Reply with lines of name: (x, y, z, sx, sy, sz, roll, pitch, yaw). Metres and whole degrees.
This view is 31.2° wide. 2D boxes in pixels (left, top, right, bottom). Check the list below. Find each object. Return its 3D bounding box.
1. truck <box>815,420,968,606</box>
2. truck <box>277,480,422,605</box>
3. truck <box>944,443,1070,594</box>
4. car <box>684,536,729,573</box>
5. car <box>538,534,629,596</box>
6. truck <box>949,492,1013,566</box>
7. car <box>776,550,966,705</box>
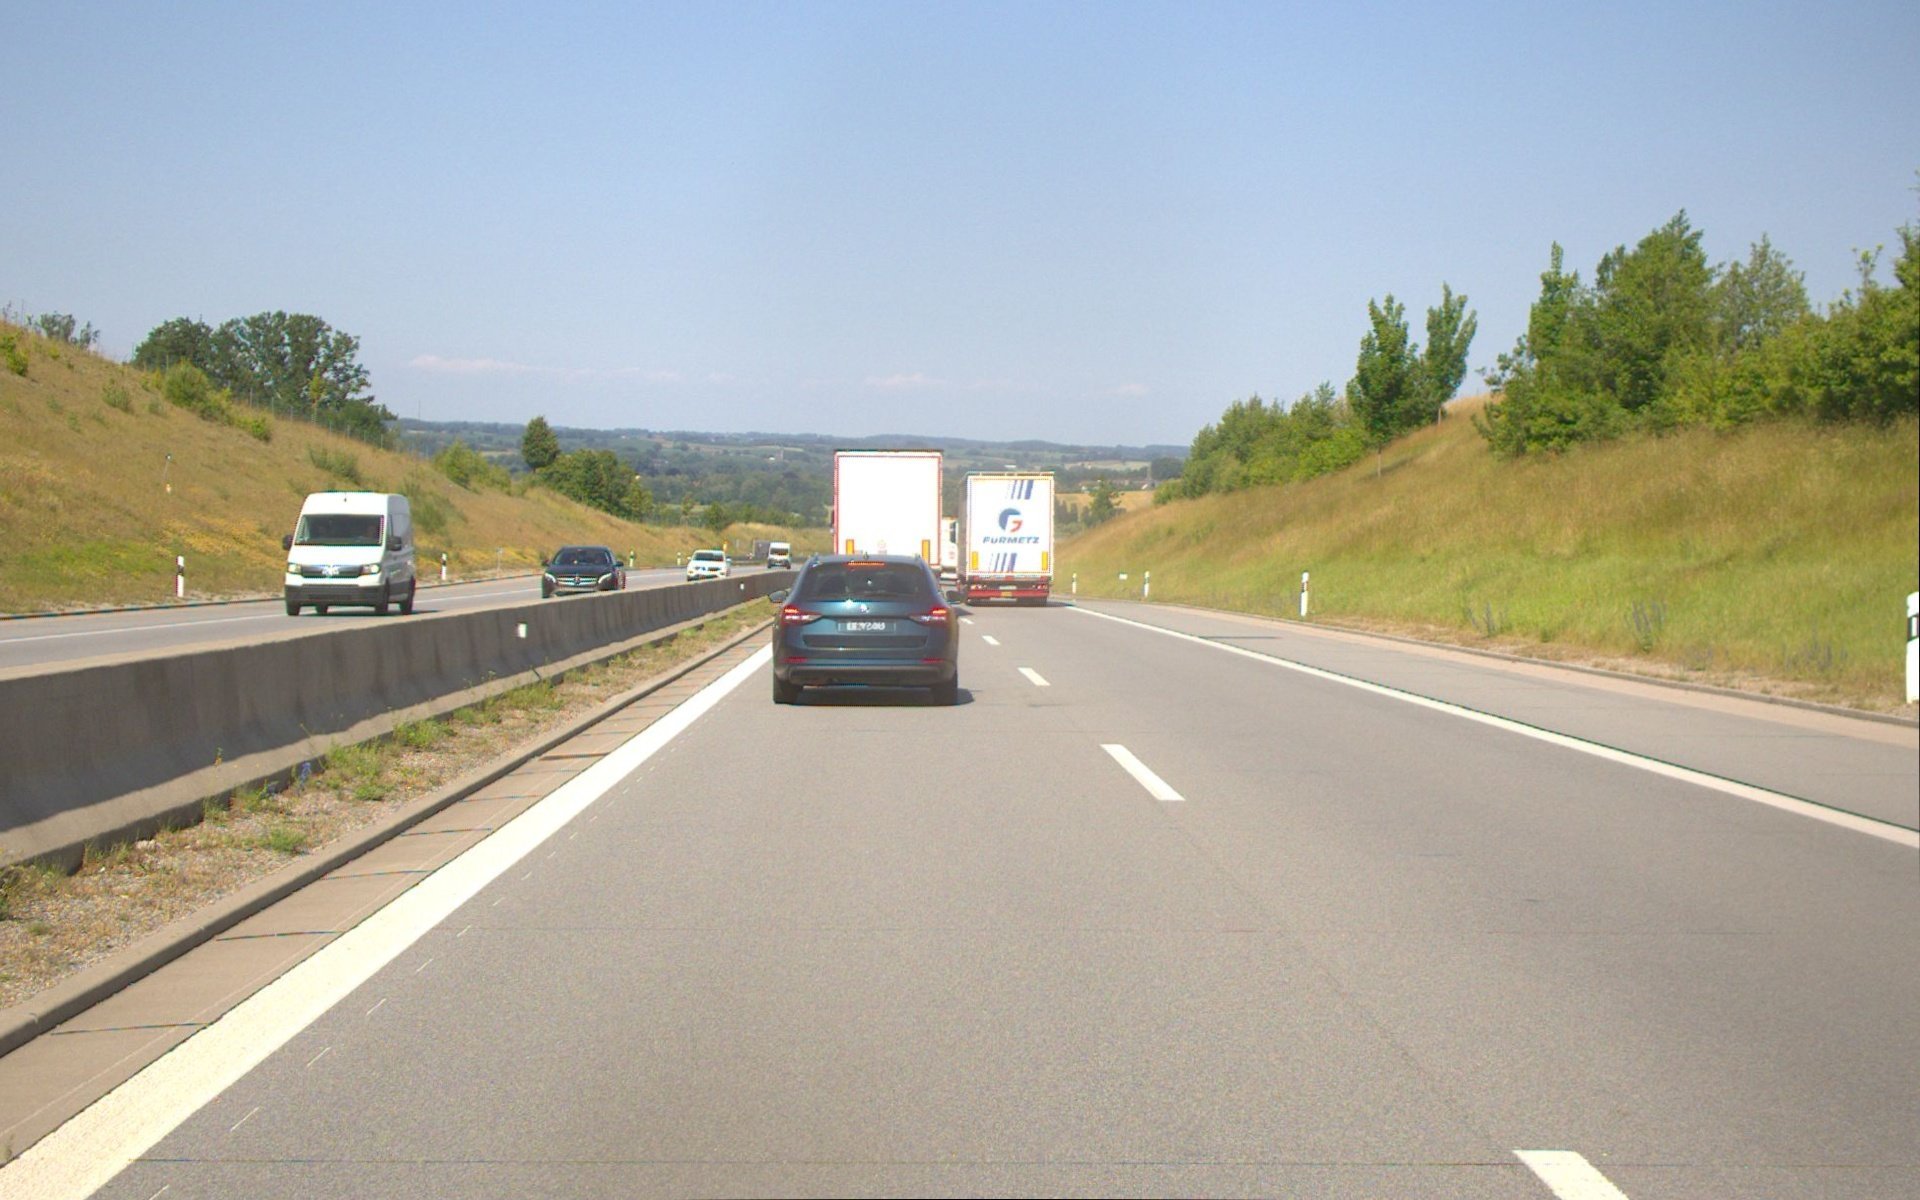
truck: (-1.599, -2.155, 86.908, 3.211, 4.366, 11.233, 1, 1, 2)
truck: (-12.618, -1.205, 71.435, 2.112, 2.452, 5.952, 1, 1, -2)
truck: (1.533, -2.478, 106.260, 3.604, 4.366, 11.233, 1, 1, 2)
car: (-11.369, -2.038, 154.139, 1.775, 1.596, 4.040, 1, 1, -1)
car: (-9.308, -0.895, 85.228, 1.853, 1.456, 4.333, 1, 1, -1)
truck: (1.327, -4.316, 209.955, 3.604, 4.366, 11.233, 1, 1, 2)
car: (-0.901, 0.230, 34.011, 1.776, 1.436, 3.789, 0, 1, -2)
